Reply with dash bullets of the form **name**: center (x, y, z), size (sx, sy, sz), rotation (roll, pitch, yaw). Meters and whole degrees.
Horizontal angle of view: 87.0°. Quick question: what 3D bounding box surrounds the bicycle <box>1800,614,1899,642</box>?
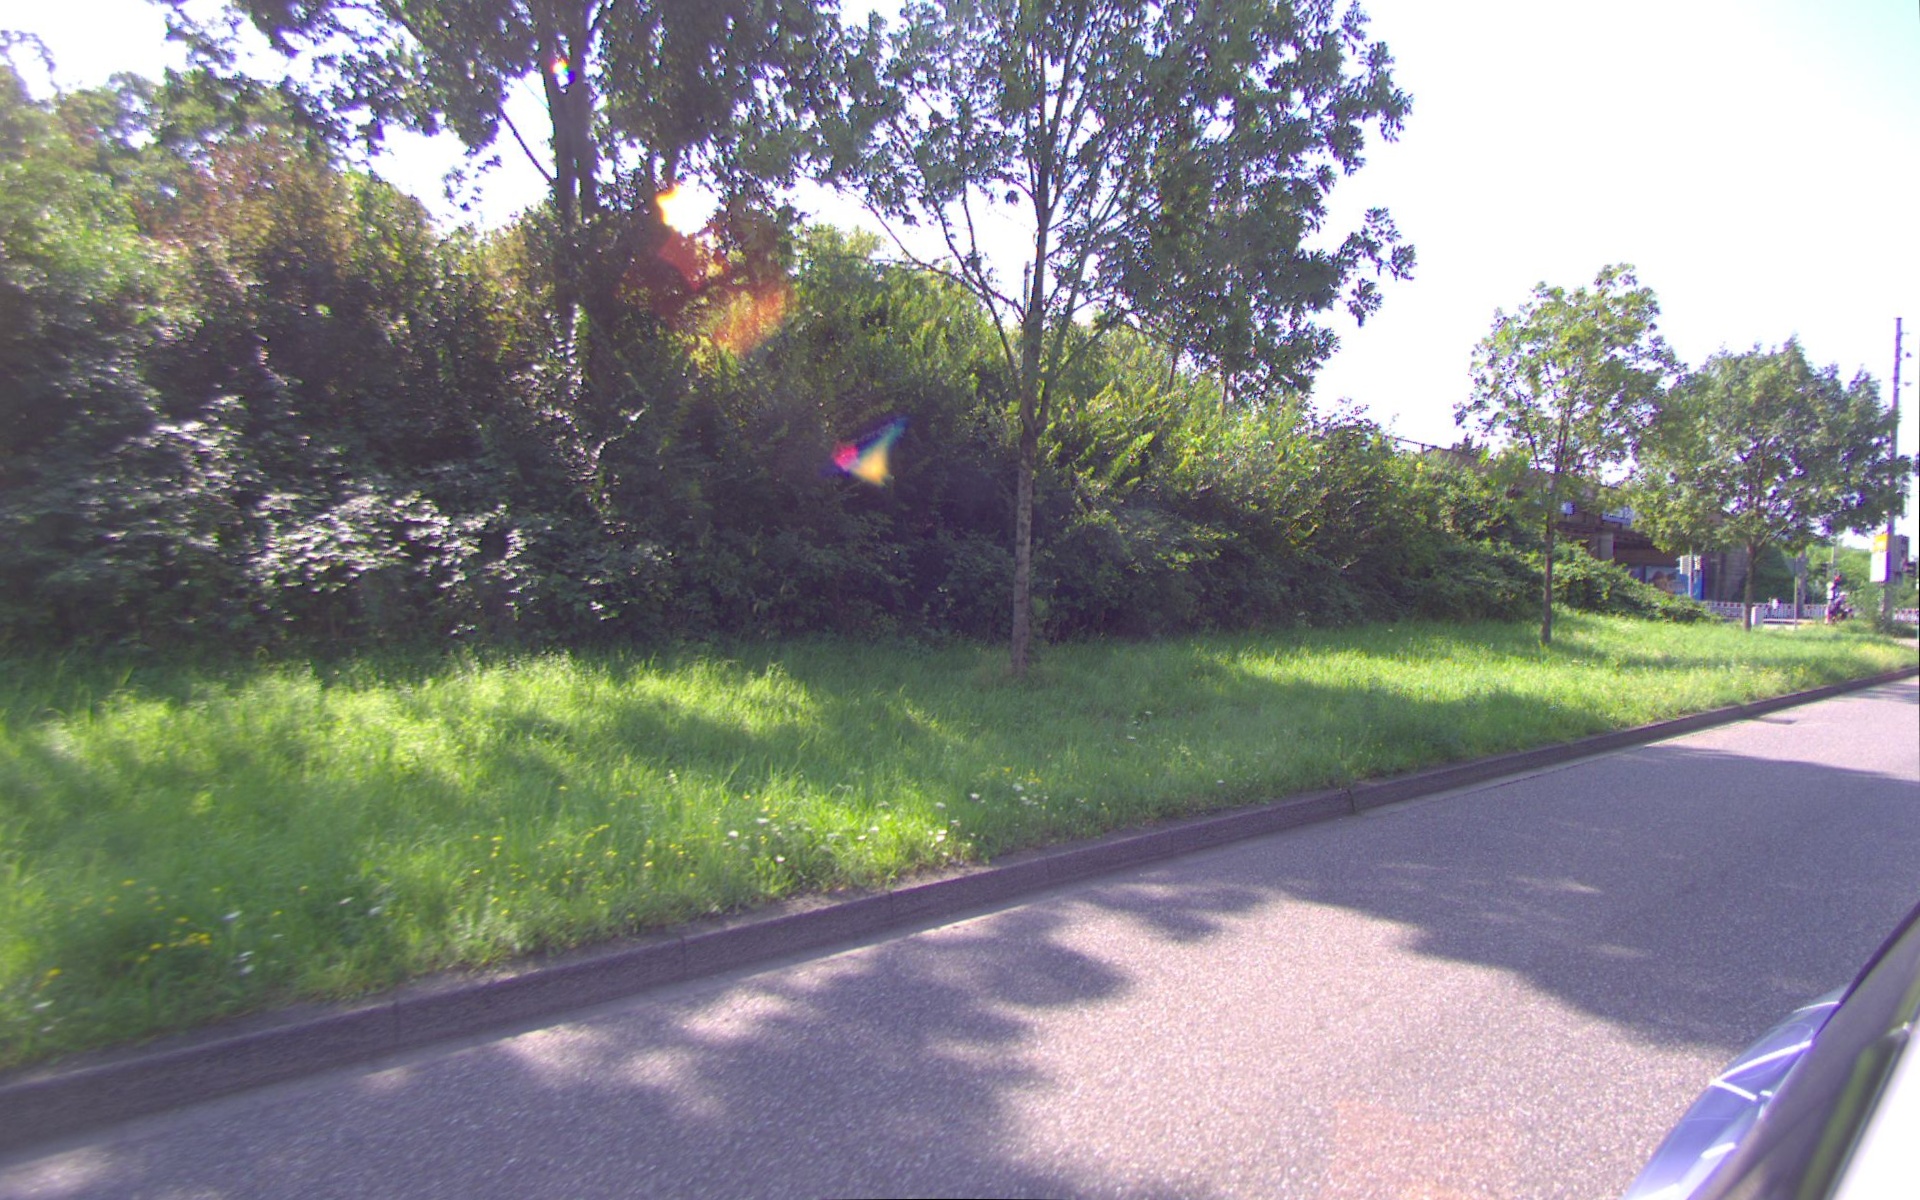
- **bicycle**: center (38.717, 1.197, 44.101), size (2.944, 1.062, 1.226), rotation (2, 1, 23)

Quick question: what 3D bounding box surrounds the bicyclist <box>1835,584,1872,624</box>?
- **bicyclist**: center (38.897, 0.154, 44.079), size (0.959, 1.679, 0.707), rotation (2, 1, 22)
